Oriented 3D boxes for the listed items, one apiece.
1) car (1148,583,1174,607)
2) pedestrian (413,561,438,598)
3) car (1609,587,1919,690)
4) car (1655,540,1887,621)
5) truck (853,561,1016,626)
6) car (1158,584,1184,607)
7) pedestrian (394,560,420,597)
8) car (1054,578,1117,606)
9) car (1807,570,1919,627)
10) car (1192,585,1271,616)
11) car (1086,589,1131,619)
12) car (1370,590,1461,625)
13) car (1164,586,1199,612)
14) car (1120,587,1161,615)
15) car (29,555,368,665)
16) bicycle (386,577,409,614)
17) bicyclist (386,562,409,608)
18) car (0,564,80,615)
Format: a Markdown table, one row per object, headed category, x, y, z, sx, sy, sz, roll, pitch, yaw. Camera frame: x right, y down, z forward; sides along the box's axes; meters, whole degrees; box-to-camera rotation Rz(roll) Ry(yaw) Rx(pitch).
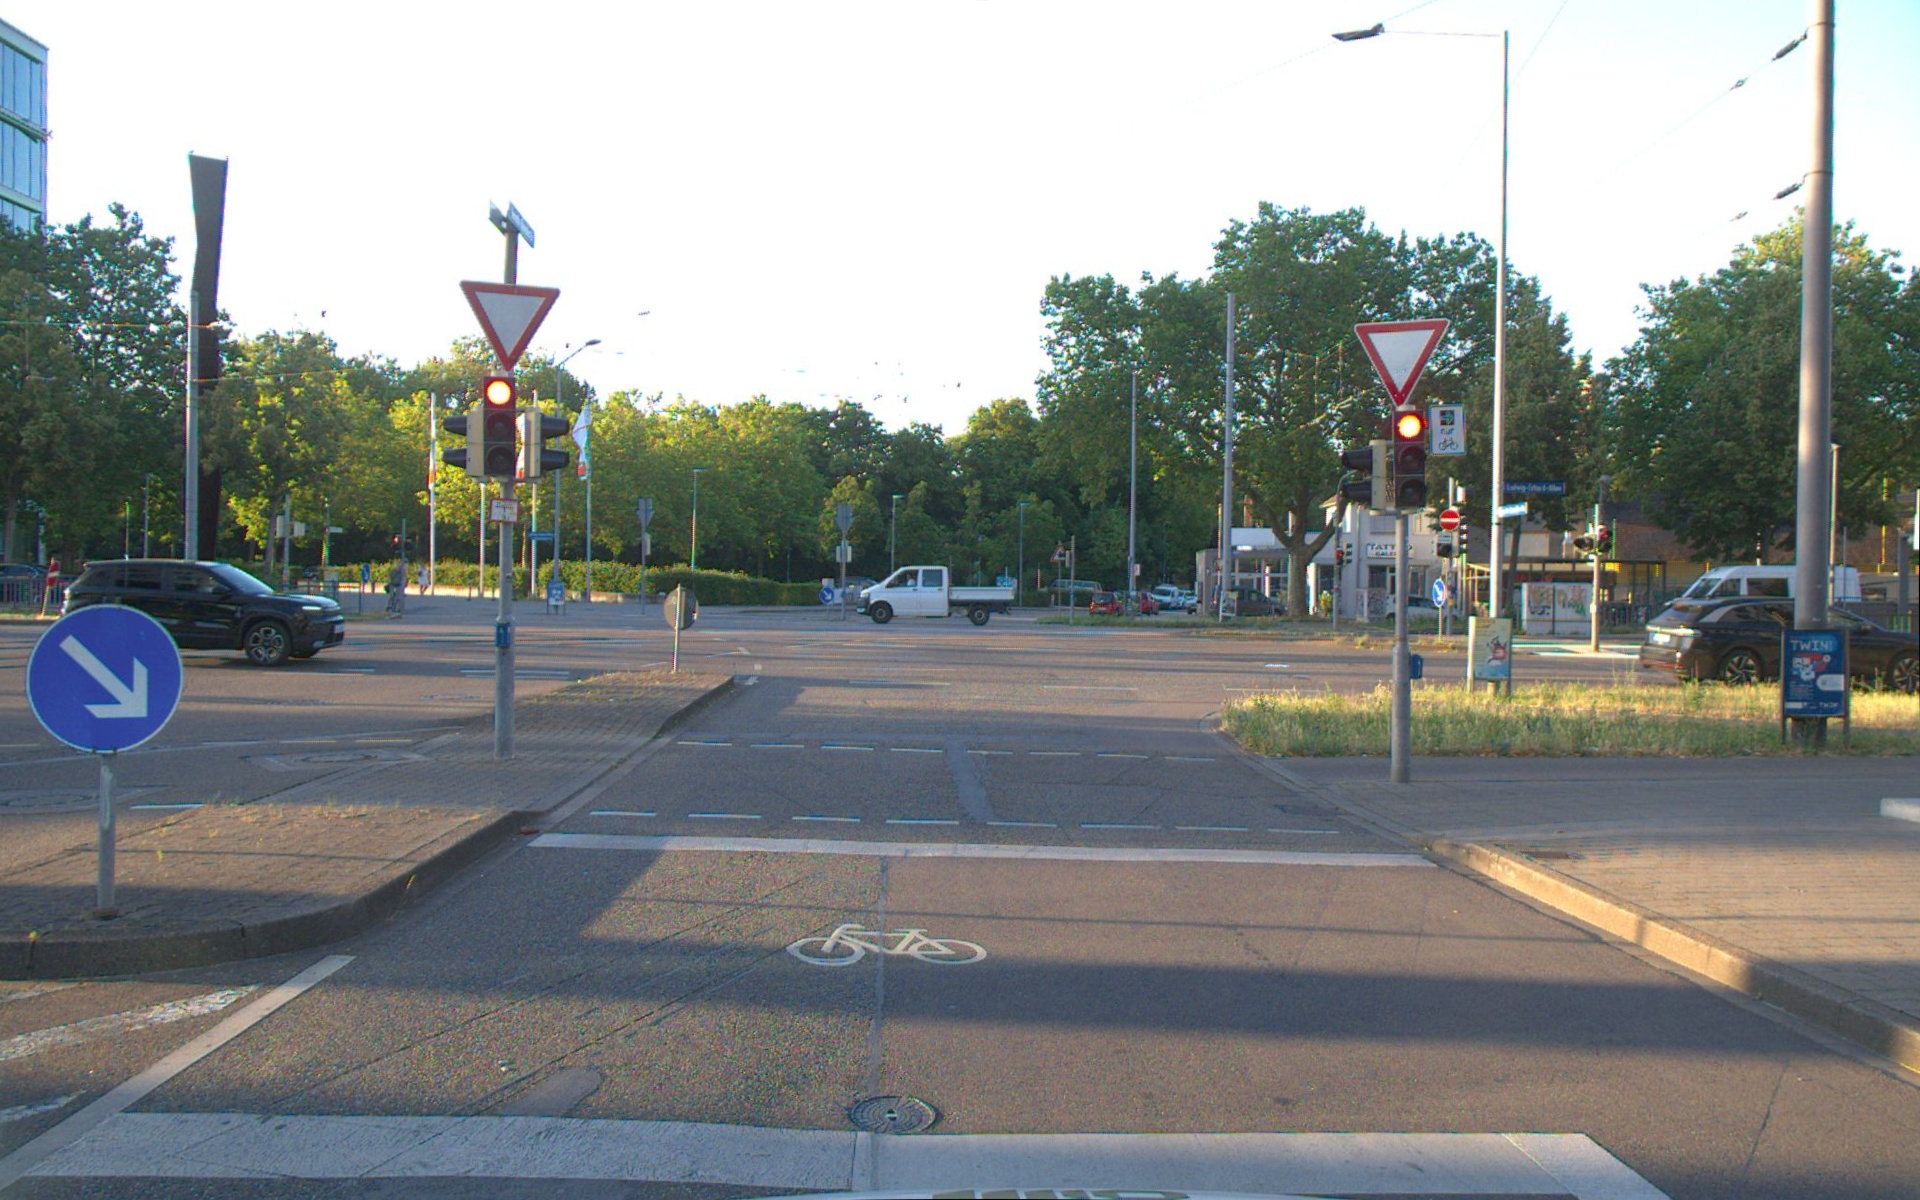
| category | x | y | z | sx | sy | sz | roll | pitch | yaw |
| --- | --- | --- | --- | --- | --- | --- | --- | --- | --- |
| car | 16.001 | -0.355 | 131.429 | 1.823 | 1.825 | 4.003 | 1 | -1 | 10 |
| pedestrian | -25.982 | -0.975 | 80.365 | 0.846 | 1.774 | 0.827 | 1 | 0 | 36 |
| car | 13.831 | 0.624 | 28.118 | 4.810 | 1.643 | 1.999 | 1 | 0 | -4 |
| car | 28.275 | -0.659 | 57.857 | 6.777 | 2.682 | 2.811 | 1 | -1 | -1 |
| truck | -0.861 | -0.227 | 56.677 | 5.443 | 2.090 | 2.068 | 1 | 0 | 0 |
| car | 17.410 | -0.344 | 136.345 | 1.823 | 1.825 | 4.003 | 0 | -1 | 12 |
| pedestrian | -26.568 | -1.025 | 79.424 | 0.843 | 1.774 | 0.829 | 1 | 0 | 28 |
| car | 9.511 | -0.581 | 126.019 | 4.675 | 2.041 | 2.000 | 1 | -1 | 1 |
| car | 43.643 | -0.079 | 78.692 | 5.476 | 2.596 | 2.231 | 1 | 0 | 7 |
| car | 14.657 | 0.028 | 89.381 | 4.129 | 1.579 | 2.001 | 1 | -1 | 7 |
| car | 8.625 | 0.226 | 95.805 | 1.951 | 1.691 | 4.003 | 0 | -1 | 14 |
| car | 19.963 | 0.344 | 72.624 | 3.659 | 1.465 | 1.665 | 1 | -1 | 9 |
| car | 15.558 | -0.057 | 115.827 | 1.951 | 1.691 | 4.003 | 0 | -1 | 14 |
| car | 11.322 | 0.100 | 103.535 | 1.951 | 1.691 | 4.003 | 0 | -1 | 14 |
| car | -11.769 | 0.145 | 25.827 | 4.348 | 1.601 | 1.998 | 1 | 0 | -6 |
| bicycle | -21.453 | -0.195 | 63.055 | 0.719 | 1.364 | 2.673 | 1 | 1 | -22 |
| bicyclist | -21.375 | -0.571 | 62.826 | 0.740 | 1.739 | 0.914 | 1 | 0 | -23 |
| car | -31.309 | -0.345 | 52.941 | 5.119 | 1.579 | 1.999 | 1 | -1 | -2 |
